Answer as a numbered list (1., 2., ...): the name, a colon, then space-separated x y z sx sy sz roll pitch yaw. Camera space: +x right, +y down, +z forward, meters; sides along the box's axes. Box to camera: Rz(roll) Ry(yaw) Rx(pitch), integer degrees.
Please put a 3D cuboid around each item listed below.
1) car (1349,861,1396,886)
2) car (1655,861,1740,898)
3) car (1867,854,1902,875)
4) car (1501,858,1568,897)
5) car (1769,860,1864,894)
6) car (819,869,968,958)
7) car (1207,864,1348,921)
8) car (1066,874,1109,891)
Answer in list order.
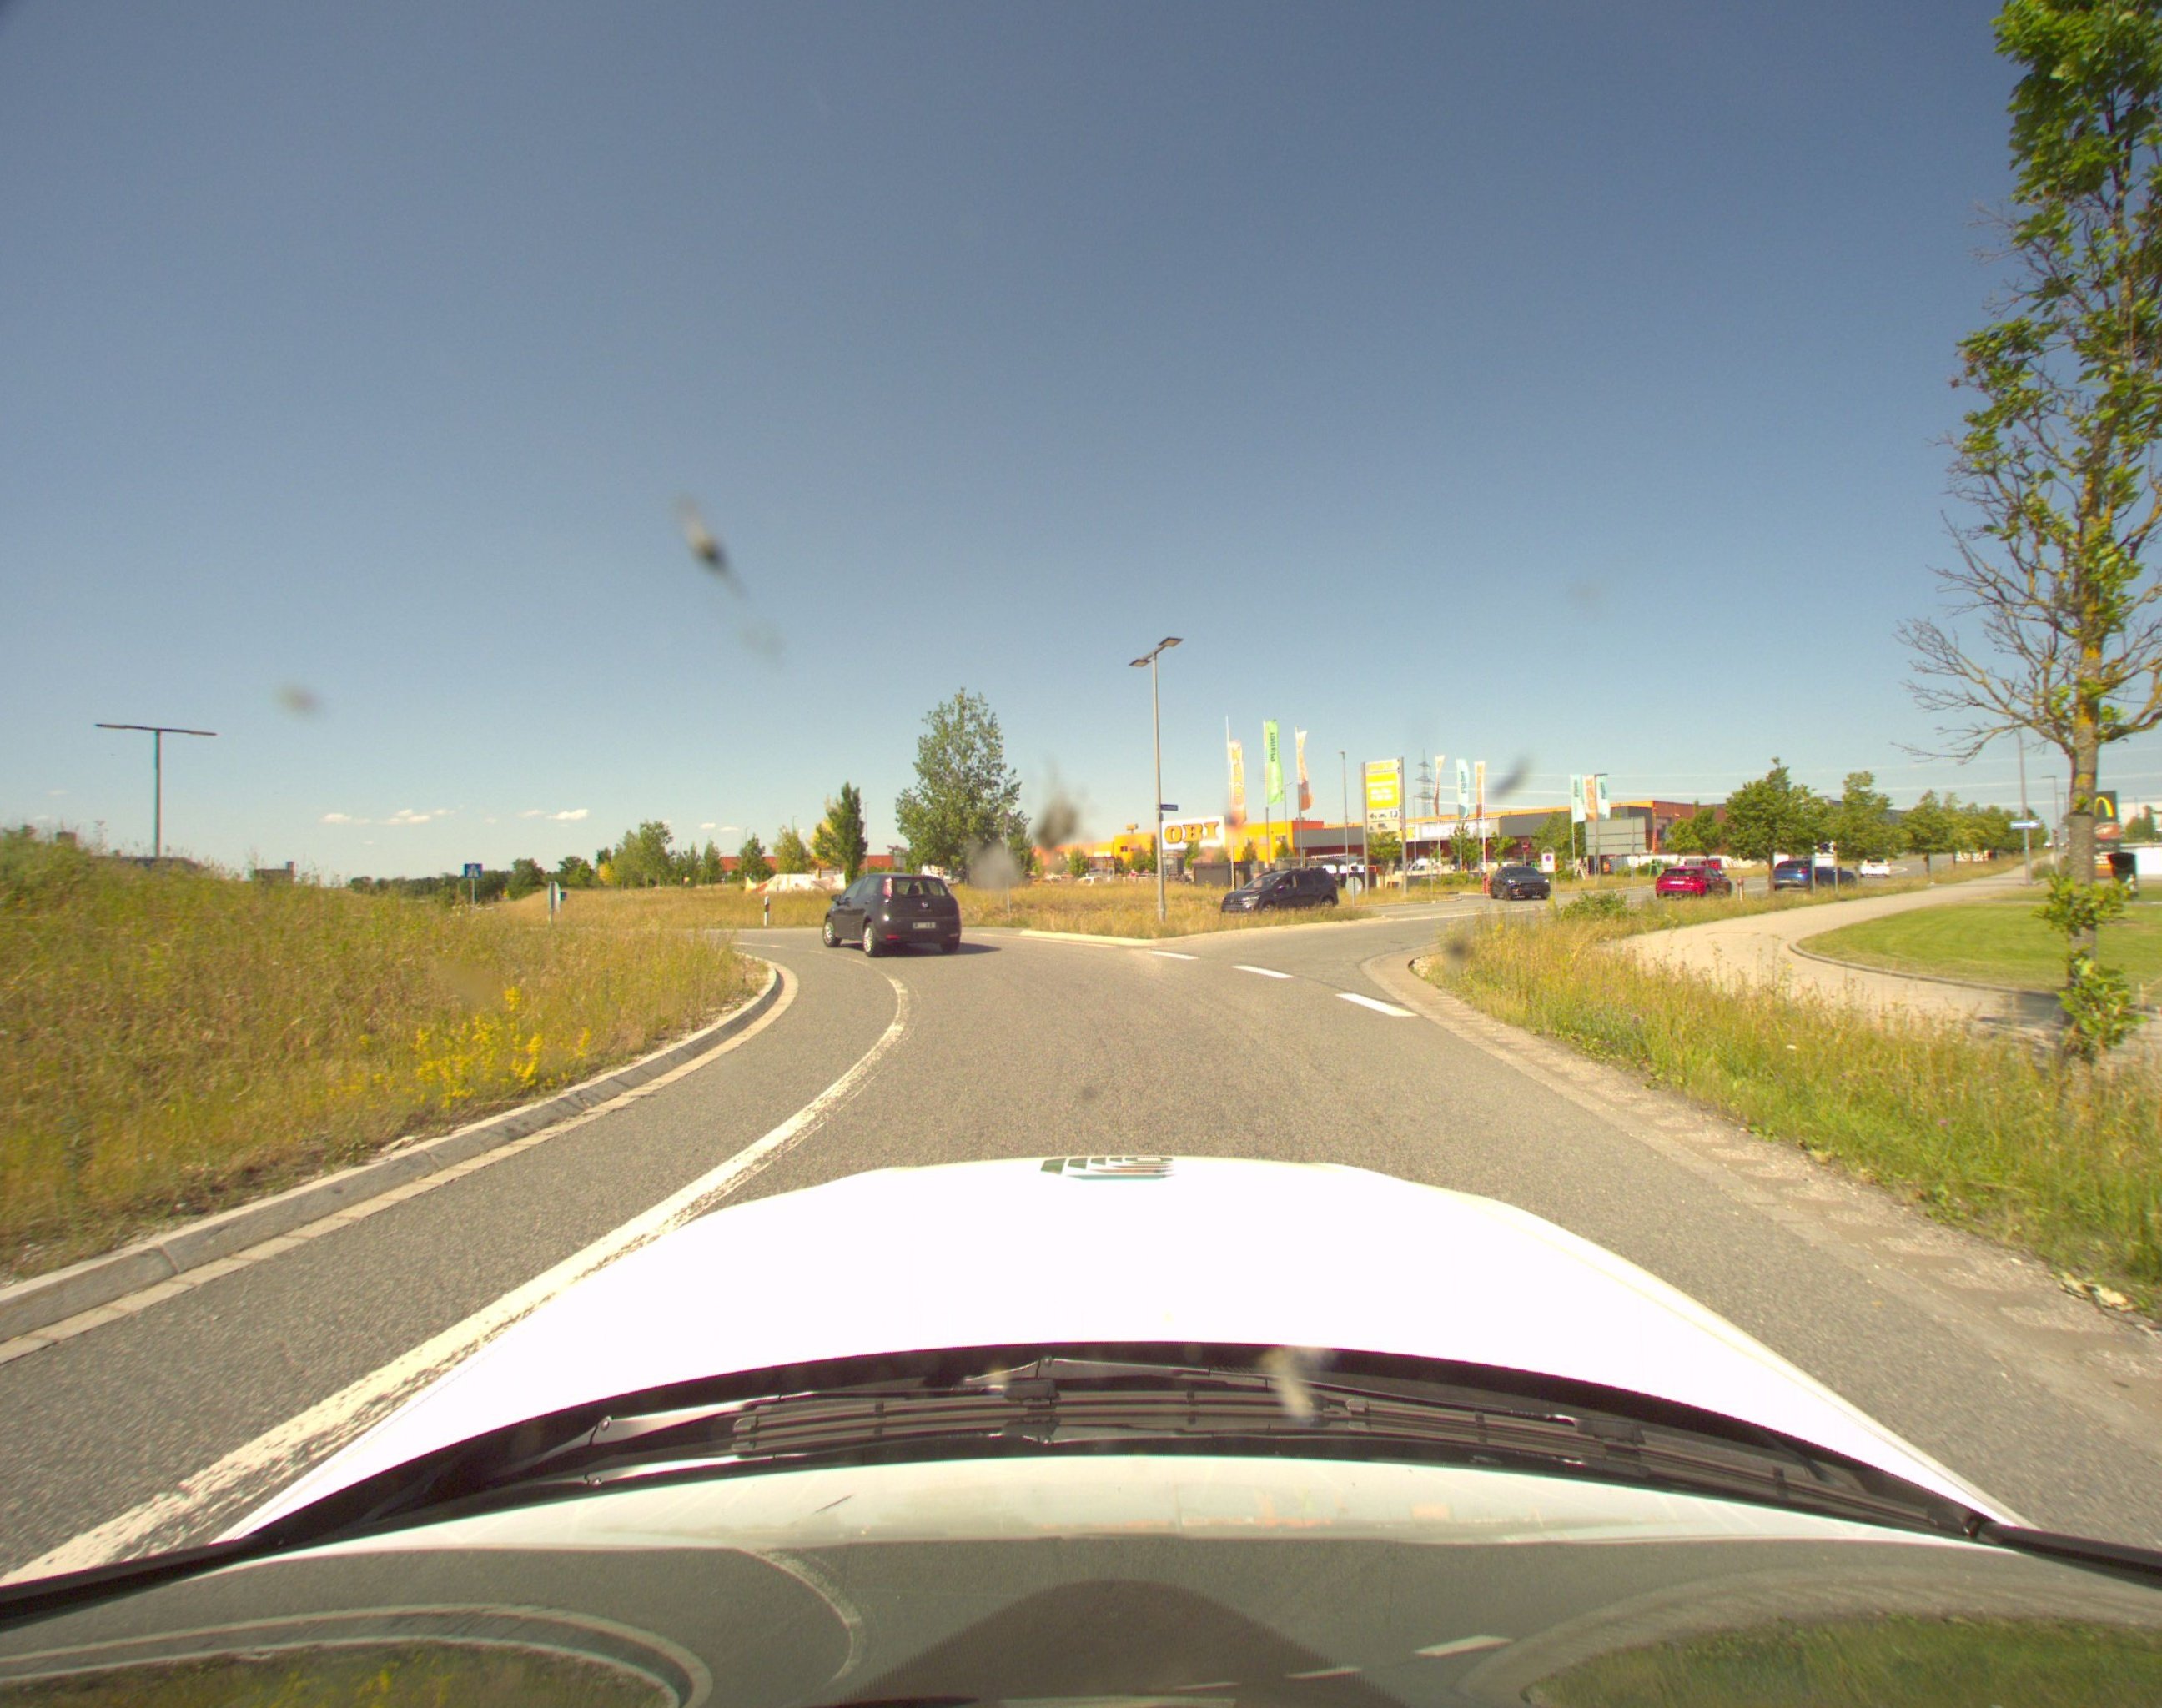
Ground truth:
1. car: 22.448 1.520 62.574 3.793 1.841 1.680 2 -3 -40
2. car: 26.218 1.041 34.599 4.136 1.416 1.788 0 -1 -36
3. car: 60.541 0.799 61.323 3.368 1.440 1.496 -1 -2 -40
4. car: 21.337 1.088 38.201 2.051 1.627 4.726 -4 -3 36
5. car: 37.105 1.125 41.108 4.080 1.635 1.845 0 -1 -20
6. car: -3.745 1.057 15.775 1.650 1.488 3.864 1 -2 -32
7. car: 6.667 1.267 27.439 4.646 1.706 1.936 -1 -3 -35
8. car: 0.628 2.890 83.444 3.948 1.618 2.012 -3 -2 40
